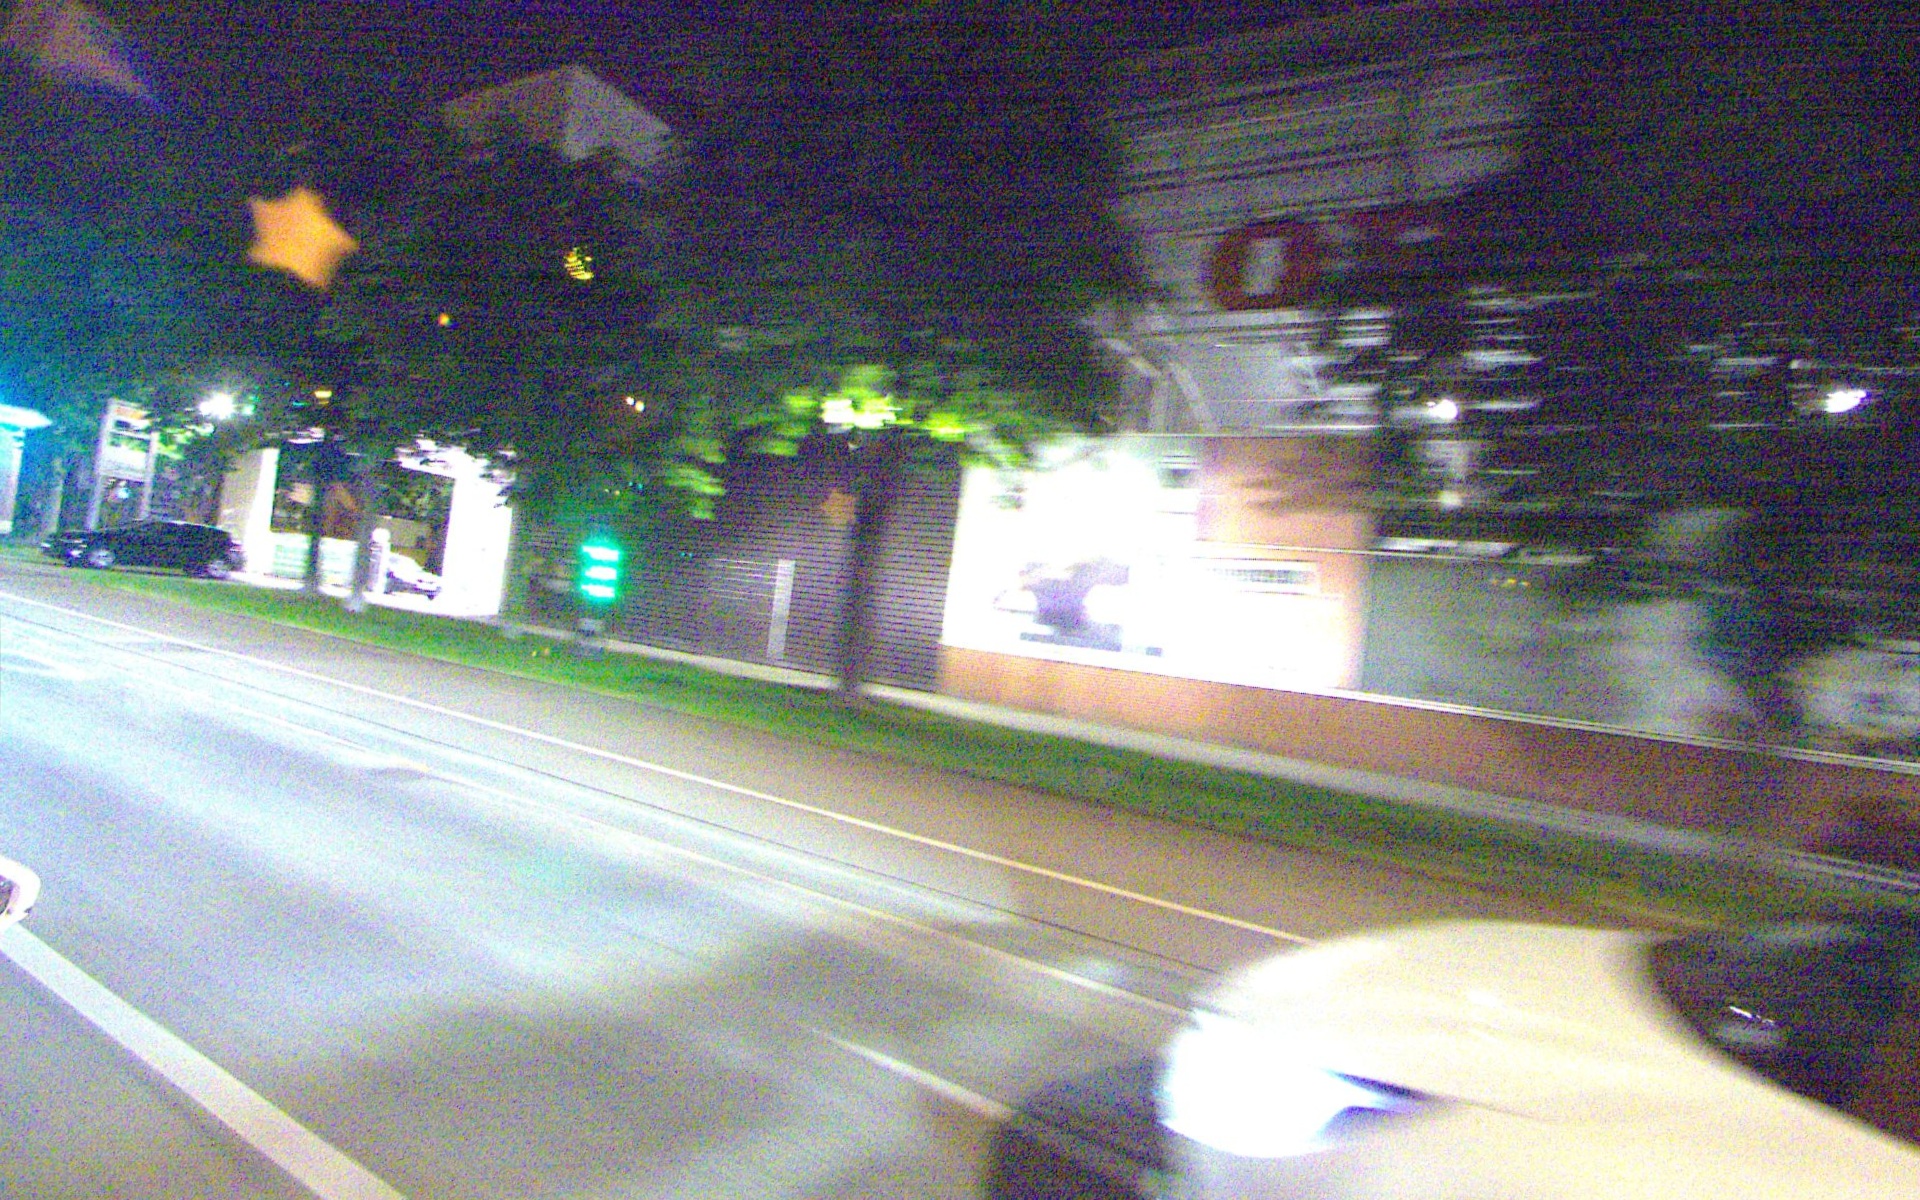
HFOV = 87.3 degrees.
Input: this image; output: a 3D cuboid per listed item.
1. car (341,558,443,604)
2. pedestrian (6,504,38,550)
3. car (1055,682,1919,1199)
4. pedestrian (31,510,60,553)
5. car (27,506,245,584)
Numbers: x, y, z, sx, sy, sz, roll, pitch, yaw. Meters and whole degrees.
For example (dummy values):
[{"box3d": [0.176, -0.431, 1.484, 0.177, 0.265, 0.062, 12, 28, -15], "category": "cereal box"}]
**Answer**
[{"box3d": [-19.505, -0.662, 34.521, 3.481, 1.182, 1.460, 5, -2, 31], "category": "car"}, {"box3d": [-35.993, -2.810, 38.605, 0.668, 1.658, 0.622, 6, 0, 32], "category": "pedestrian"}, {"box3d": [2.539, 1.179, 1.615, 4.424, 1.446, 1.728, 6, -2, 32], "category": "car"}, {"box3d": [-35.011, -2.626, 38.518, 0.623, 1.552, 0.573, 6, 0, 32], "category": "pedestrian"}, {"box3d": [-21.970, -1.424, 26.998, 1.757, 1.471, 4.088, 6, -1, 31], "category": "car"}]
